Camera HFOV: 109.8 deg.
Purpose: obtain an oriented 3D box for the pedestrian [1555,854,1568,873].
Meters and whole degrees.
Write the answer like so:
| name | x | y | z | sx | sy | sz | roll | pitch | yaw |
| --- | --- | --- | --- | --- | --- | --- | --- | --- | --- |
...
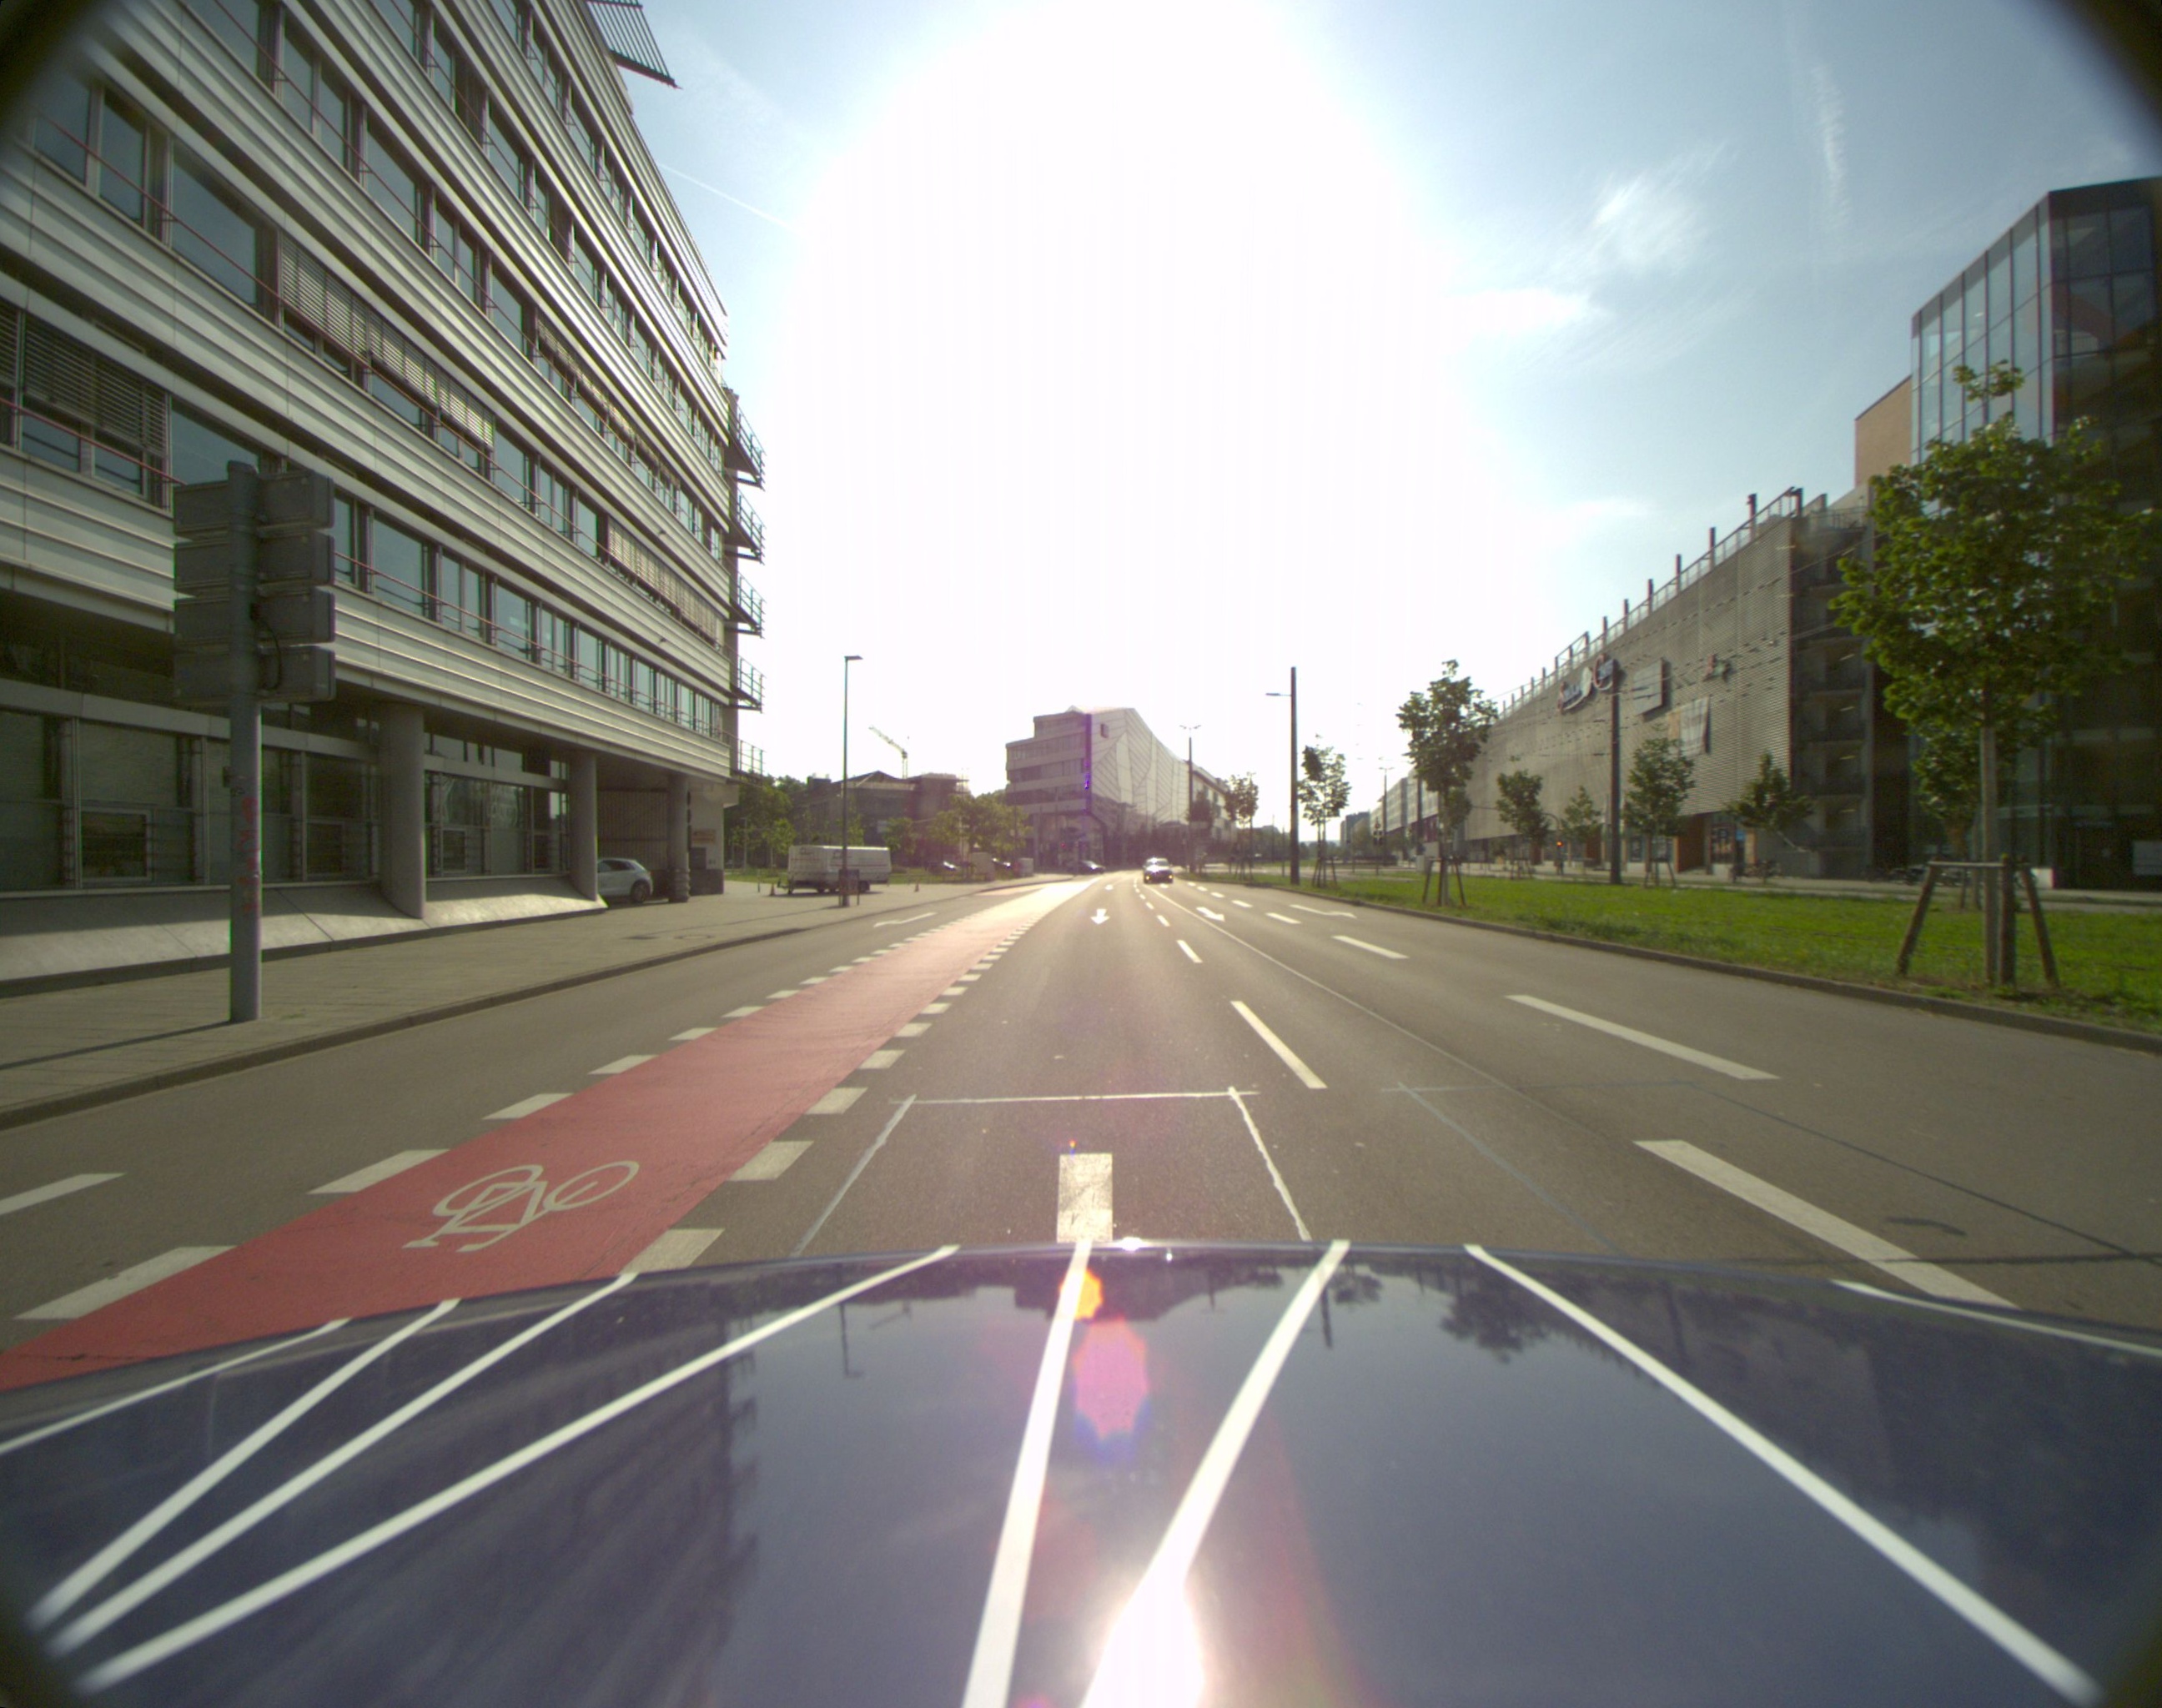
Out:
| name | x | y | z | sx | sy | sz | roll | pitch | yaw |
| --- | --- | --- | --- | --- | --- | --- | --- | --- | --- |
| pedestrian | 39.970 | 0.796 | 63.213 | 0.762 | 1.570 | 0.590 | 0 | 1 | 12 |

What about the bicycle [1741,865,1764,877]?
| name | x | y | z | sx | sy | sz | roll | pitch | yaw |
| --- | --- | --- | --- | --- | --- | --- | --- | --- | --- |
| bicycle | 42.947 | 1.105 | 48.567 | 1.004 | 0.747 | 0.453 | 0 | 0 | 18 |

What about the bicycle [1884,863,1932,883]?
| name | x | y | z | sx | sy | sz | roll | pitch | yaw |
| --- | --- | --- | --- | --- | --- | --- | --- | --- | --- |
| bicycle | 40.279 | 0.931 | 37.016 | 1.581 | 0.935 | 0.473 | 0 | 1 | 16 |

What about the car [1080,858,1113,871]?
| name | x | y | z | sx | sy | sz | roll | pitch | yaw |
| --- | --- | --- | --- | --- | --- | --- | --- | --- | --- |
| car | 1.627 | 1.061 | 78.568 | 3.156 | 1.335 | 1.591 | 0 | 0 | 45 |

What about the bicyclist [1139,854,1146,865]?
| name | x | y | z | sx | sy | sz | roll | pitch | yaw |
| --- | --- | --- | --- | --- | --- | --- | --- | --- | --- |
| bicyclist | 8.941 | 0.780 | 110.682 | 0.781 | 1.577 | 0.933 | 1 | 2 | 23 |

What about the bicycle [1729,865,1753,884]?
| name | x | y | z | sx | sy | sz | roll | pitch | yaw |
| --- | --- | --- | --- | --- | --- | --- | --- | --- | --- |
| bicycle | 37.341 | 1.144 | 43.004 | 0.444 | 0.982 | 2.167 | 1 | 2 | 26 |

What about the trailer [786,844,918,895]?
| name | x | y | z | sx | sy | sz | roll | pitch | yaw |
| --- | --- | --- | --- | --- | --- | --- | --- | --- | --- |
| trailer | -10.484 | 0.668 | 35.377 | 2.390 | 2.138 | 5.960 | 0 | 0 | 28 |

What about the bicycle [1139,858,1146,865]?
| name | x | y | z | sx | sy | sz | roll | pitch | yaw |
| --- | --- | --- | --- | --- | --- | --- | --- | --- | --- |
| bicycle | 8.923 | 1.091 | 110.715 | 0.418 | 1.050 | 1.962 | 1 | 2 | 23 |

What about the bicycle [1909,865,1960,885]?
| name | x | y | z | sx | sy | sz | roll | pitch | yaw |
| --- | --- | --- | --- | --- | --- | --- | --- | --- | --- |
| bicycle | 39.435 | 0.976 | 35.119 | 1.581 | 0.935 | 0.411 | 0 | 1 | 15 |

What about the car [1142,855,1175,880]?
| name | x | y | z | sx | sy | sz | roll | pitch | yaw |
| --- | --- | --- | --- | --- | --- | --- | --- | --- | --- |
| car | 4.672 | 0.799 | 45.979 | 1.643 | 1.411 | 3.895 | 0 | 0 | 1 |

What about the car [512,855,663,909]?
| name | x | y | z | sx | sy | sz | roll | pitch | yaw |
| --- | --- | --- | --- | --- | --- | --- | --- | --- | --- |
| car | -15.646 | 0.845 | 24.360 | 1.747 | 1.580 | 4.004 | 0 | -1 | 11 |

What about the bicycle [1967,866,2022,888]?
| name | x | y | z | sx | sy | sz | roll | pitch | yaw |
| --- | --- | --- | --- | --- | --- | --- | --- | --- | --- |
| bicycle | 40.196 | 0.999 | 33.434 | 1.581 | 0.935 | 0.412 | 0 | 1 | 16 |
